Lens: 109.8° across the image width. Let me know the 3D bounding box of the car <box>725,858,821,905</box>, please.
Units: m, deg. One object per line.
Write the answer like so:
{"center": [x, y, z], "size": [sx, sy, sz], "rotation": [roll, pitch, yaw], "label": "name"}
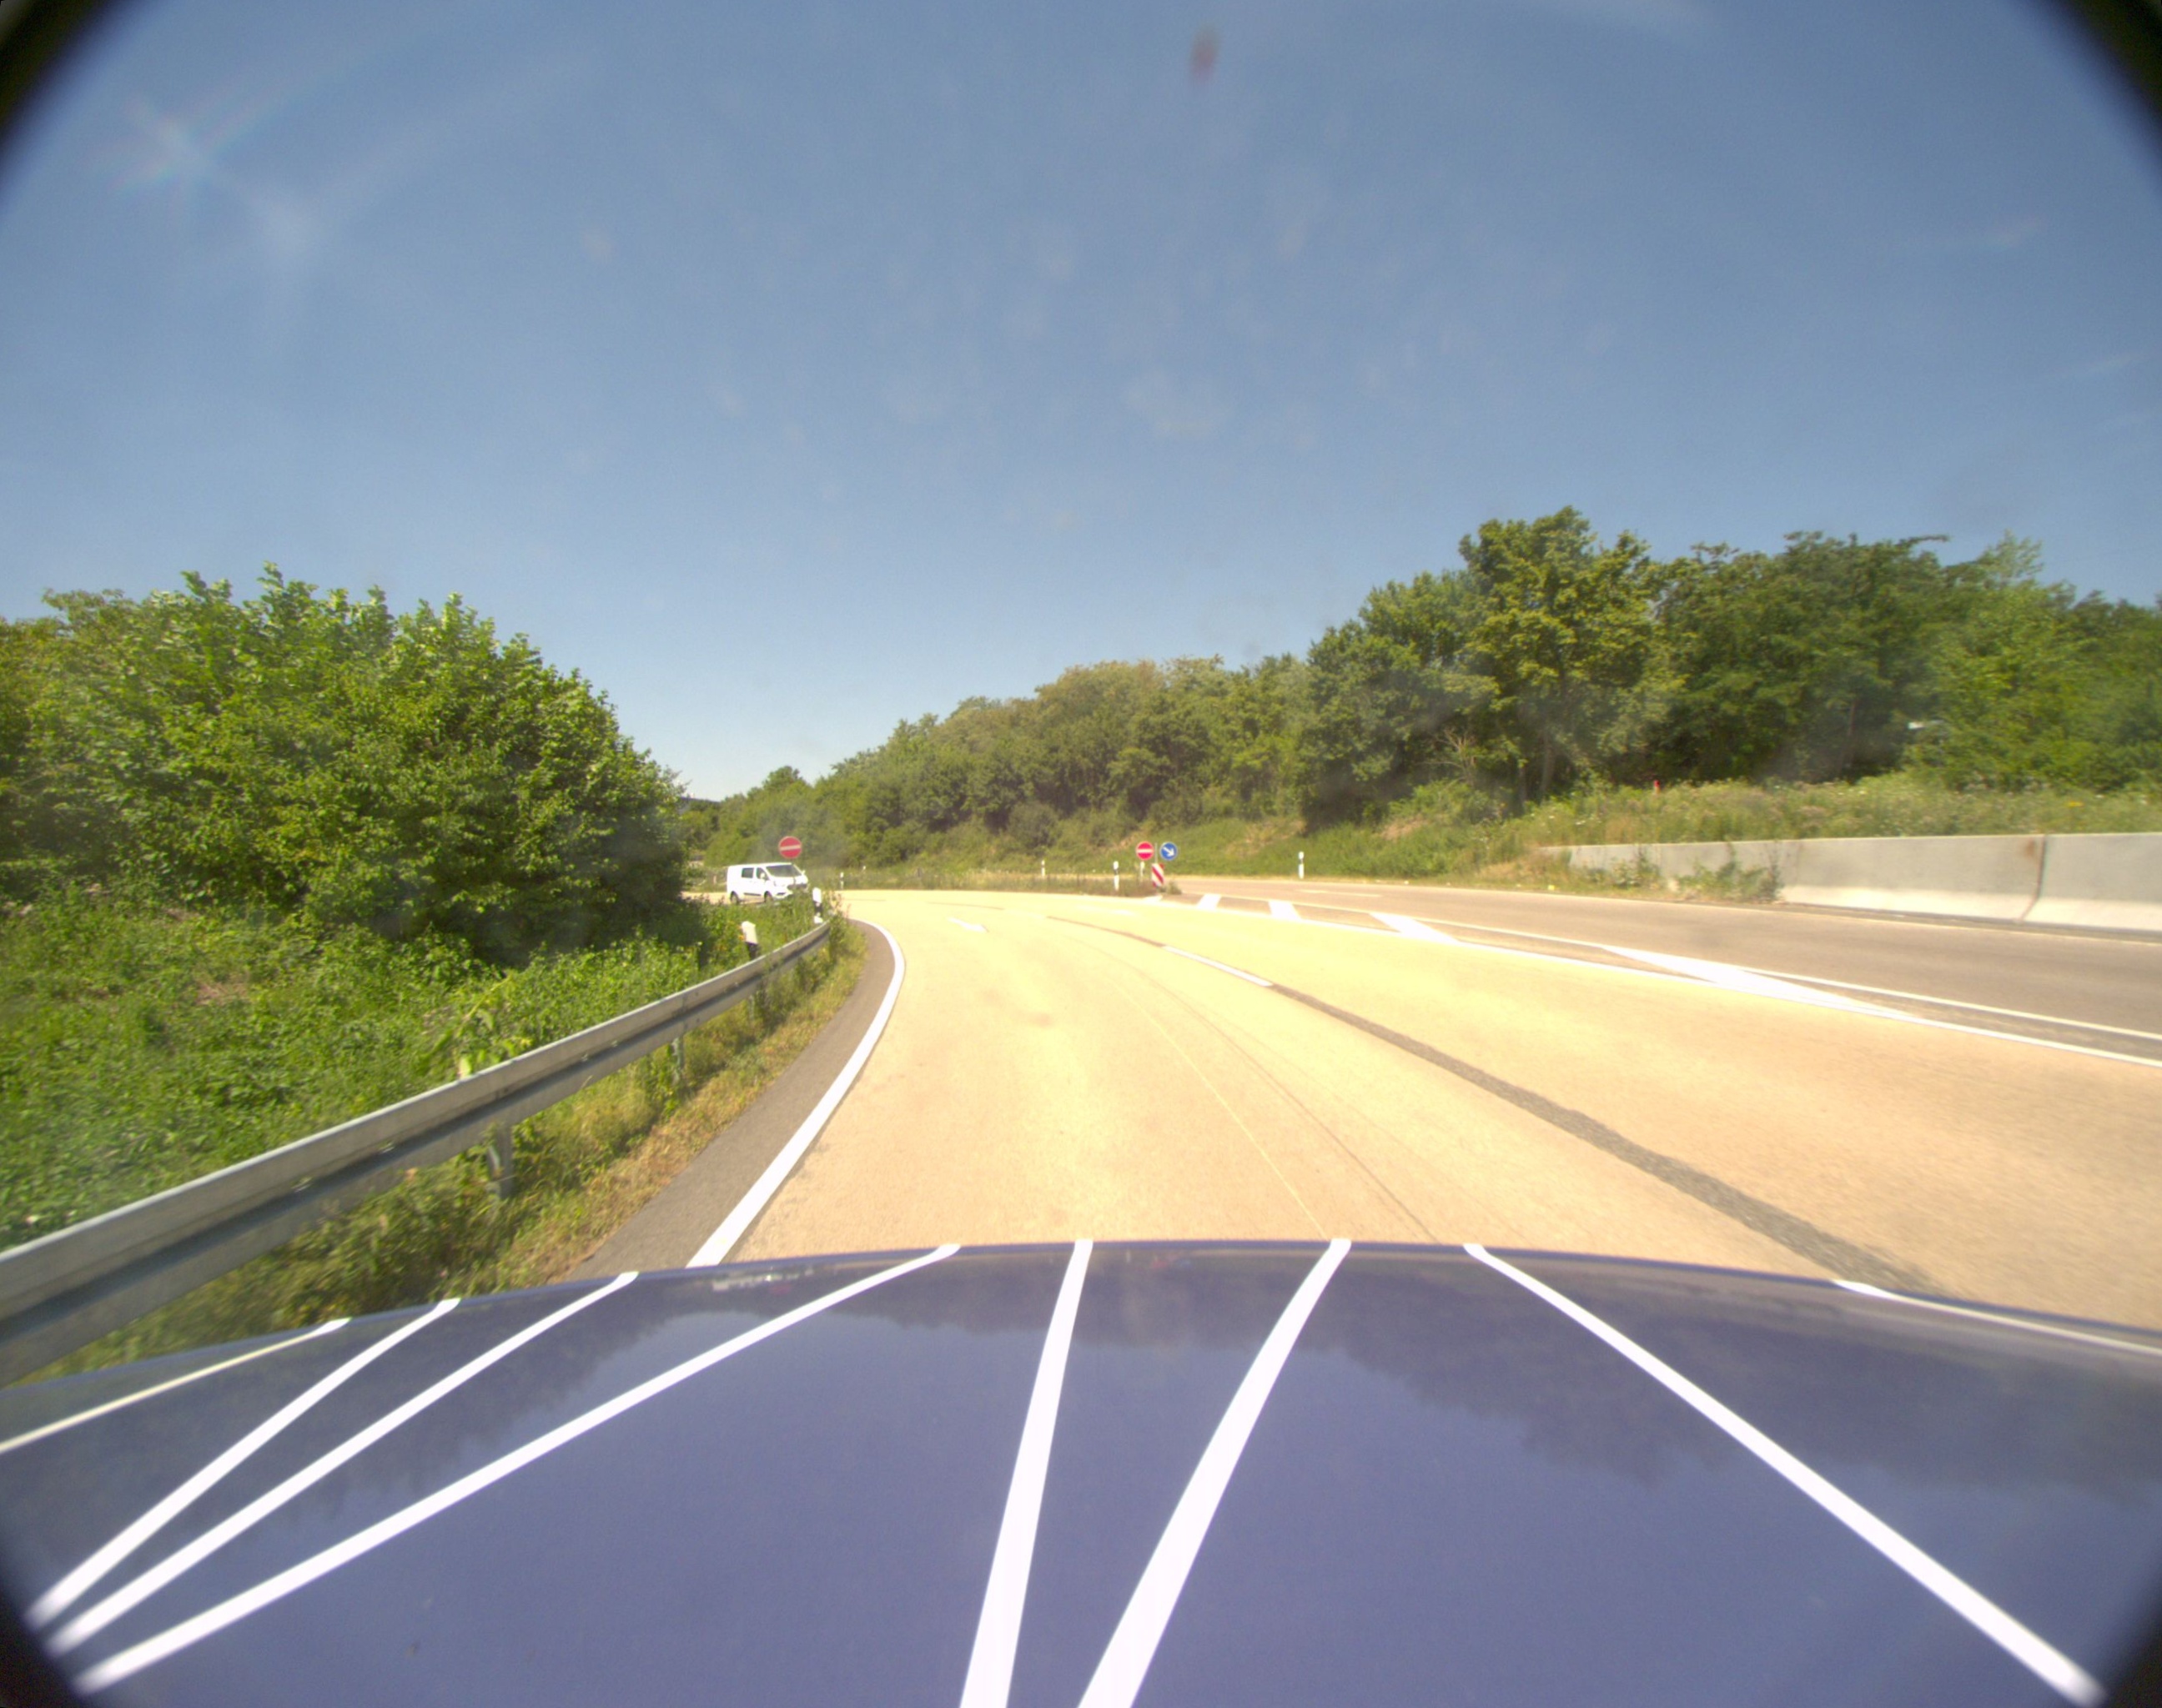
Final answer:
{"center": [-14.951, 1.327, 36.789], "size": [5.027, 2.002, 2.067], "rotation": [-2, 3, 40], "label": "car"}
